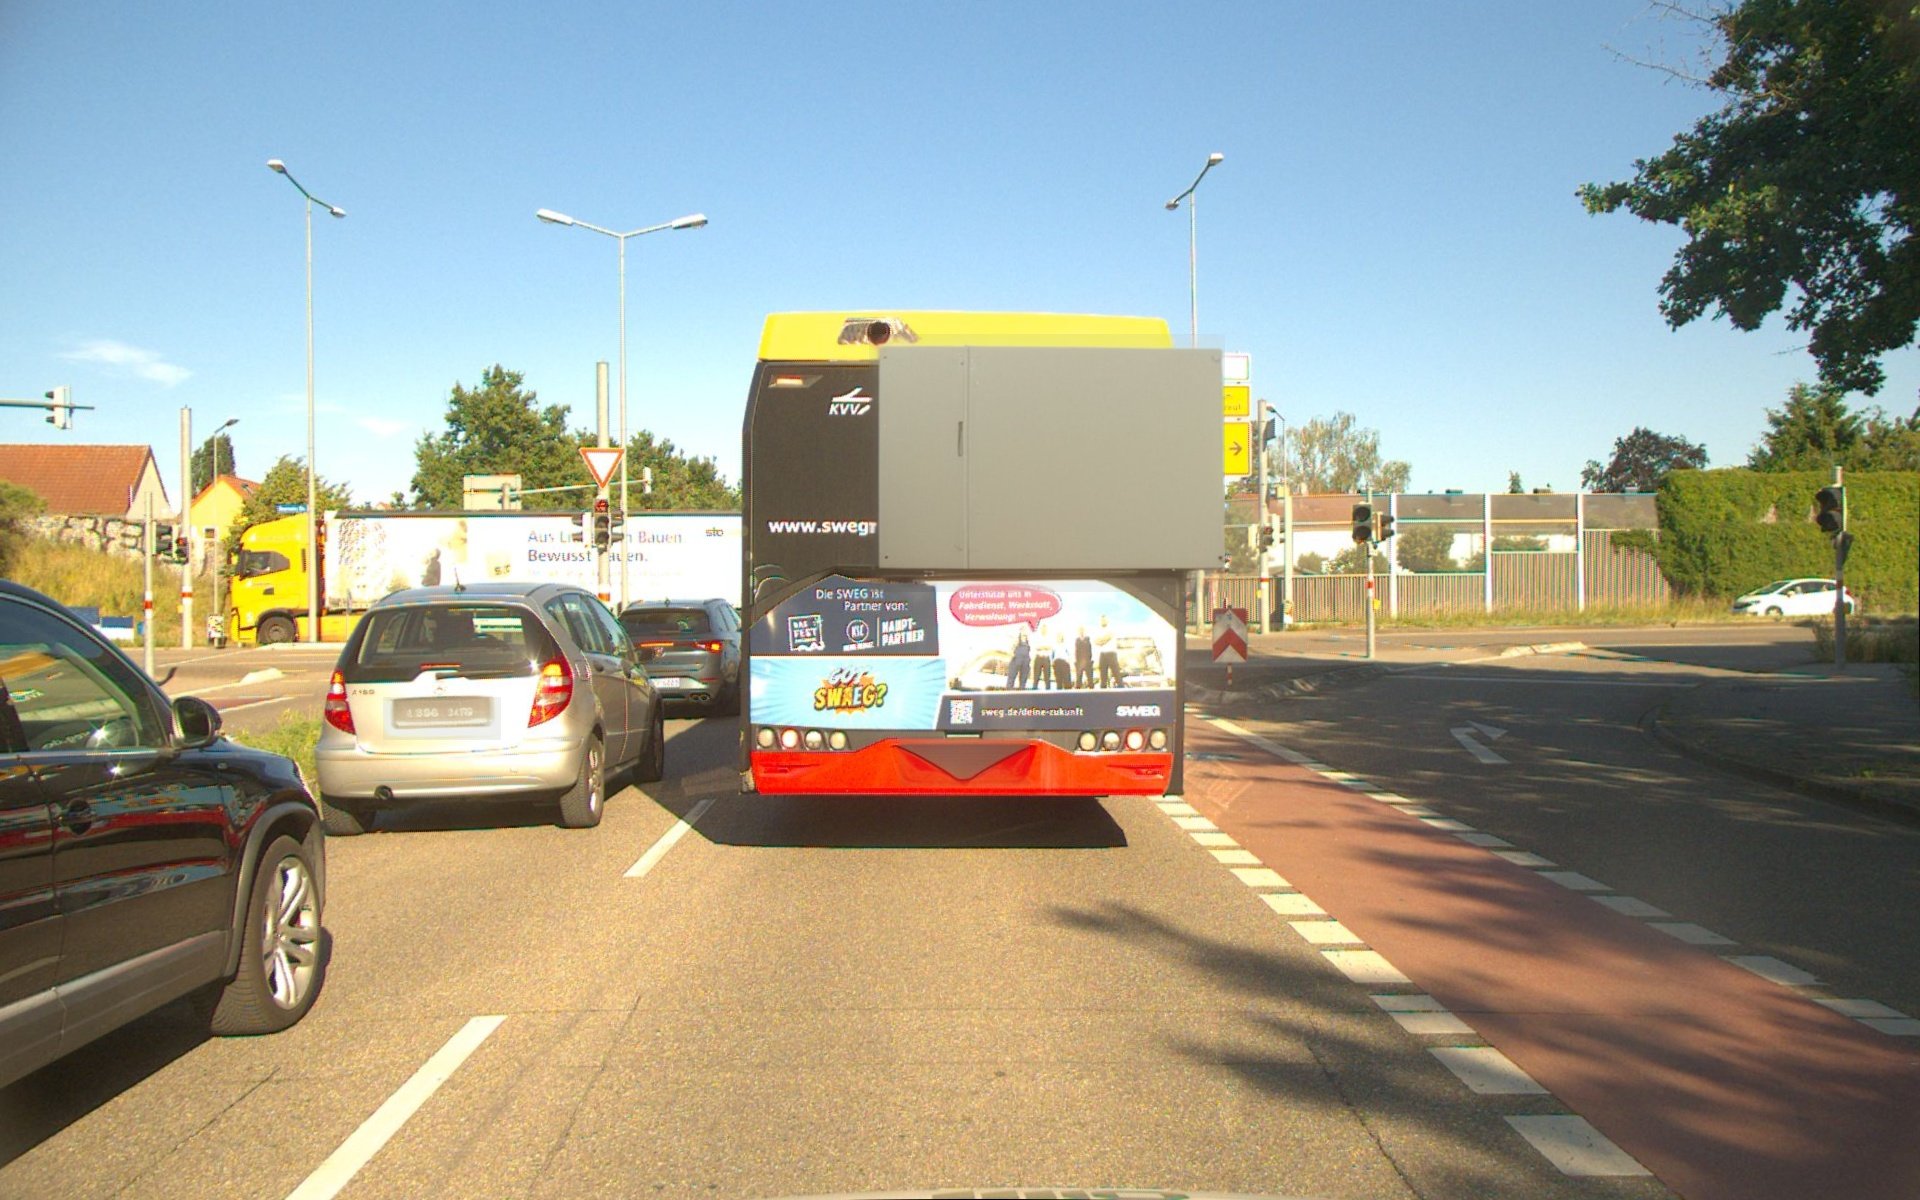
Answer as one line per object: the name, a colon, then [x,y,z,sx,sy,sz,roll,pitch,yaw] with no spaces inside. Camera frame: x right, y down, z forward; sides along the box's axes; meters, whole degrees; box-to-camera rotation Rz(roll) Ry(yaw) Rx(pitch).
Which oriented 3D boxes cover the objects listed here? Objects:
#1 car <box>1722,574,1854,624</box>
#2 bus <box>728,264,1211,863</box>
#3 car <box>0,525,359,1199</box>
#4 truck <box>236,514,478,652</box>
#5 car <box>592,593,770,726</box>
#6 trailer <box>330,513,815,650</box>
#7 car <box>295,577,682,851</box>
car: [28.321,-0.024,56.601,3.735,1.641,1.704,1,0,-7]
bus: [0.018,-0.248,14.892,2.589,3.222,11.860,0,0,0]
car: [-3.147,0.692,4.303,1.736,1.682,3.999,-2,0,-1]
truck: [-18.432,-0.536,50.992,6.352,4.083,3.436,0,0,-7]
car: [-3.452,0.683,21.058,1.658,1.484,3.750,-2,0,-1]
trailer: [-11.802,-0.592,51.855,14.378,4.083,3.435,0,0,-7]
car: [-3.219,0.688,12.129,1.725,1.617,3.999,-2,0,-1]
